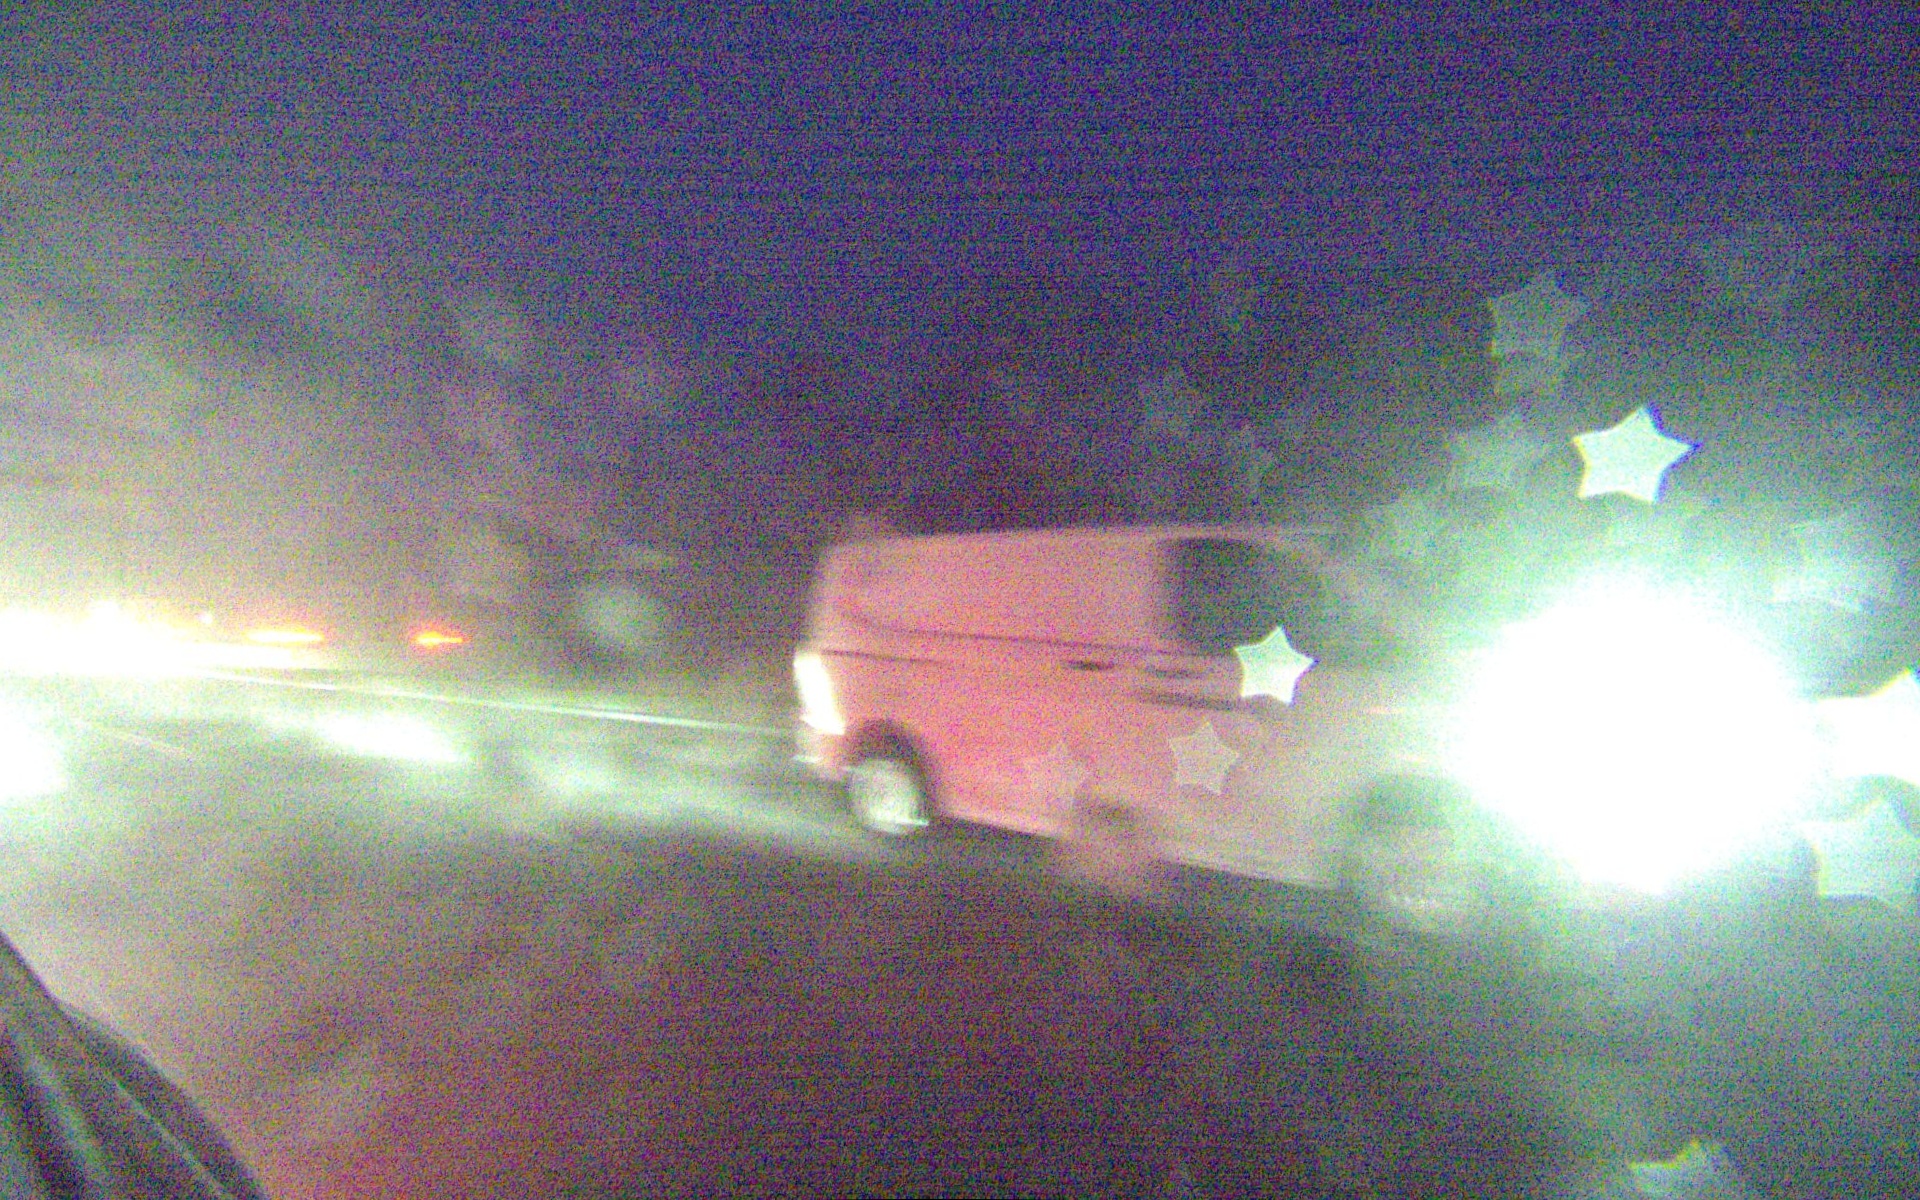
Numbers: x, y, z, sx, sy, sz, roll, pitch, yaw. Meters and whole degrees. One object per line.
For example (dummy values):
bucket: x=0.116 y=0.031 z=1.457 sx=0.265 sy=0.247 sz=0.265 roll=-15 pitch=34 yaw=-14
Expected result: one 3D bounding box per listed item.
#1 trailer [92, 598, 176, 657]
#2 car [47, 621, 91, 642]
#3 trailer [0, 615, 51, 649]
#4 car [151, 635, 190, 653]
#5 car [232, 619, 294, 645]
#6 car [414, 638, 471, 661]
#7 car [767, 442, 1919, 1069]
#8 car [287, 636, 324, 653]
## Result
trailer: x=-73.360 y=2.401 z=89.655 sx=14.568 sy=4.886 sz=2.893 roll=-1 pitch=-4 yaw=40
car: x=-74.190 y=2.605 z=84.257 sx=4.589 sy=1.611 sz=1.973 roll=-1 pitch=-4 yaw=40
trailer: x=-109.079 y=3.666 z=117.898 sx=12.007 sy=3.777 sz=2.670 roll=-1 pitch=-4 yaw=39
car: x=-77.378 y=4.303 z=99.176 sx=4.589 sy=1.611 sz=1.973 roll=-1 pitch=-4 yaw=40
car: x=-37.178 y=1.704 z=53.964 sx=3.994 sy=1.354 sz=1.636 roll=-2 pitch=-1 yaw=38
car: x=-31.881 y=3.017 z=62.298 sx=3.994 sy=1.354 sz=1.636 roll=-2 pitch=-1 yaw=38
car: x=1.508 y=0.517 z=5.689 sx=5.552 sy=1.899 sz=2.115 roll=-1 pitch=-2 yaw=41
car: x=-59.130 y=3.985 z=91.391 sx=4.590 sy=1.388 sz=1.543 roll=-1 pitch=-4 yaw=40
